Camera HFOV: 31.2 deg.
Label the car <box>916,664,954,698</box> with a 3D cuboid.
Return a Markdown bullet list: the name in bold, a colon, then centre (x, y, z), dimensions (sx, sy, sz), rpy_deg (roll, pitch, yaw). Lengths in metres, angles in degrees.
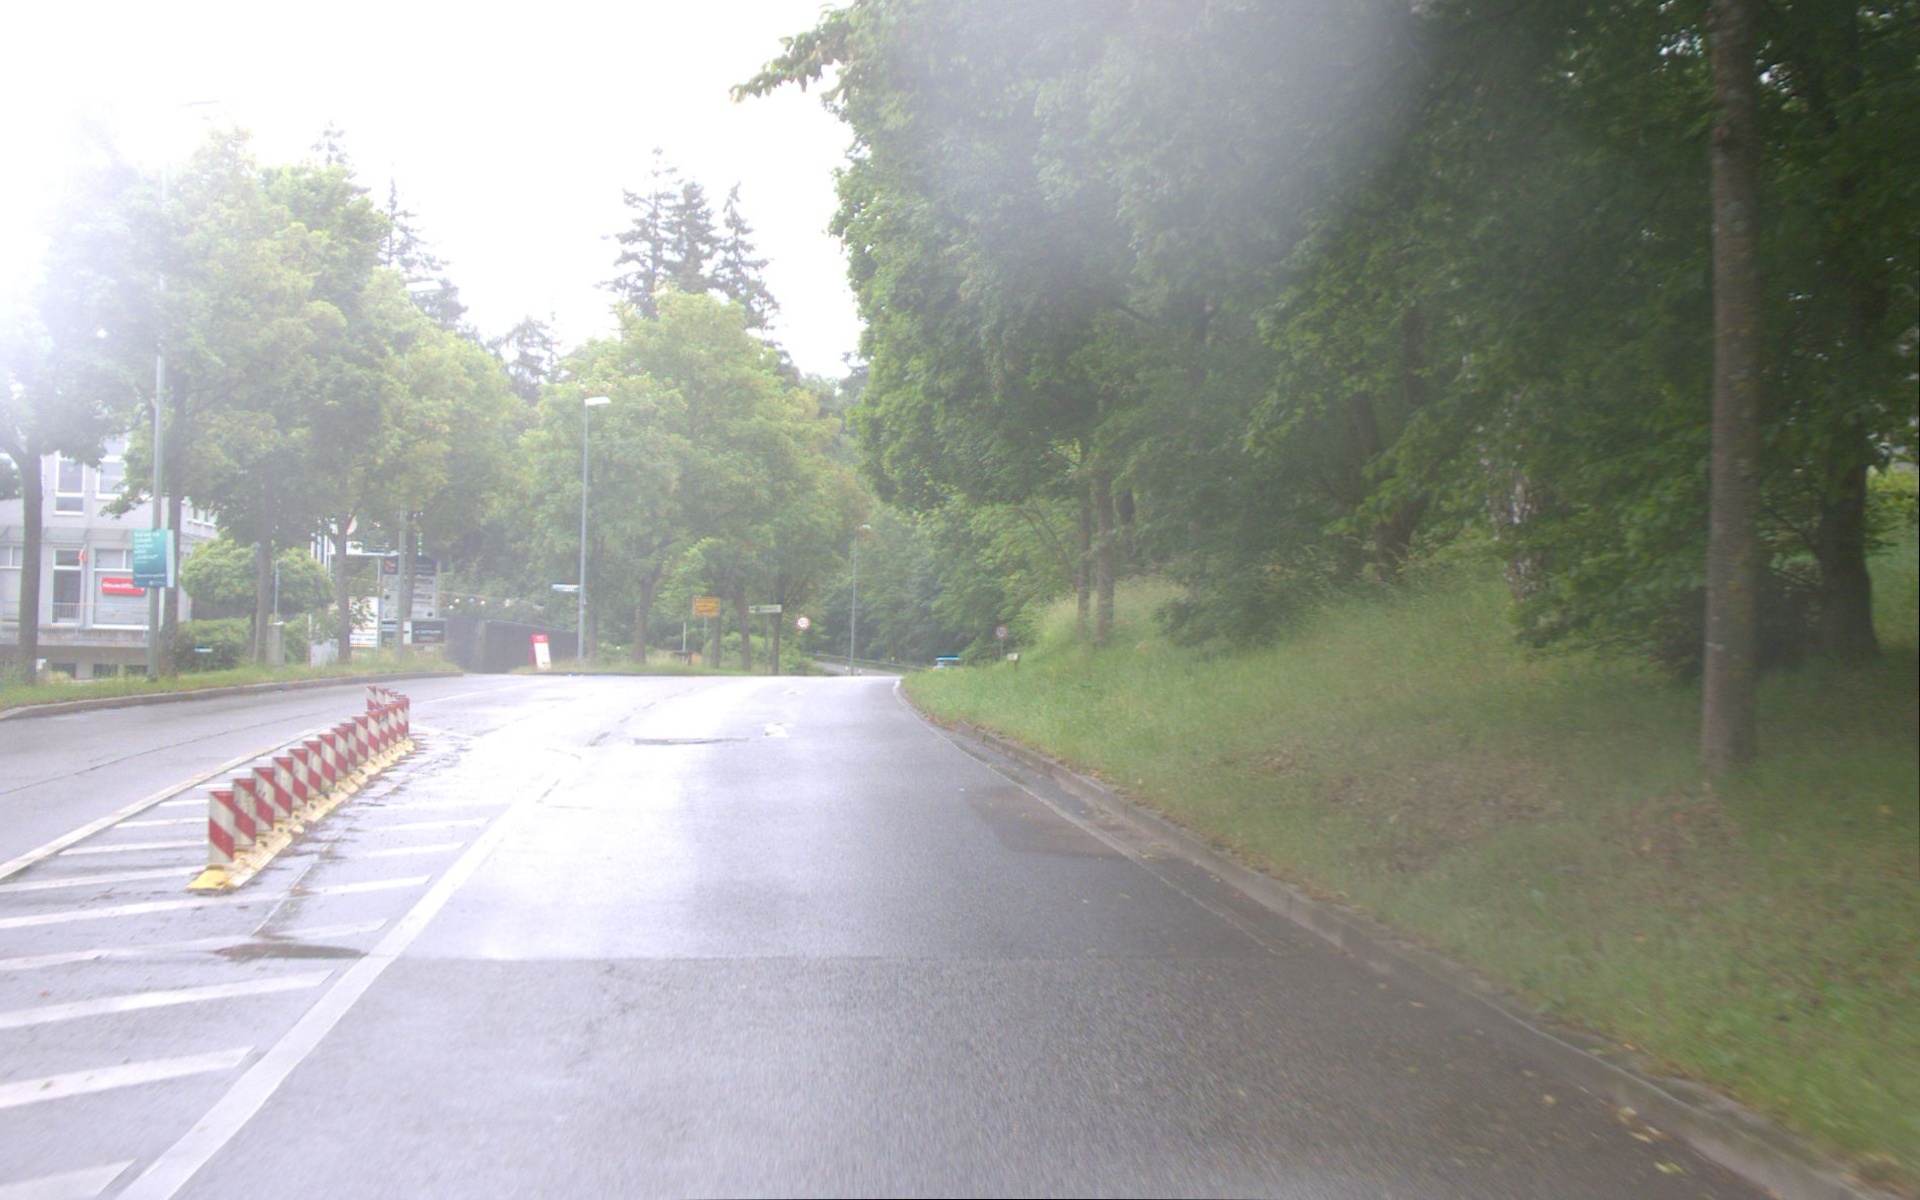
- **car**: centre (-1.156, 3.761, 160.018), dimensions (1.736, 1.505, 4.000), rpy_deg (-1, -1, 0)
